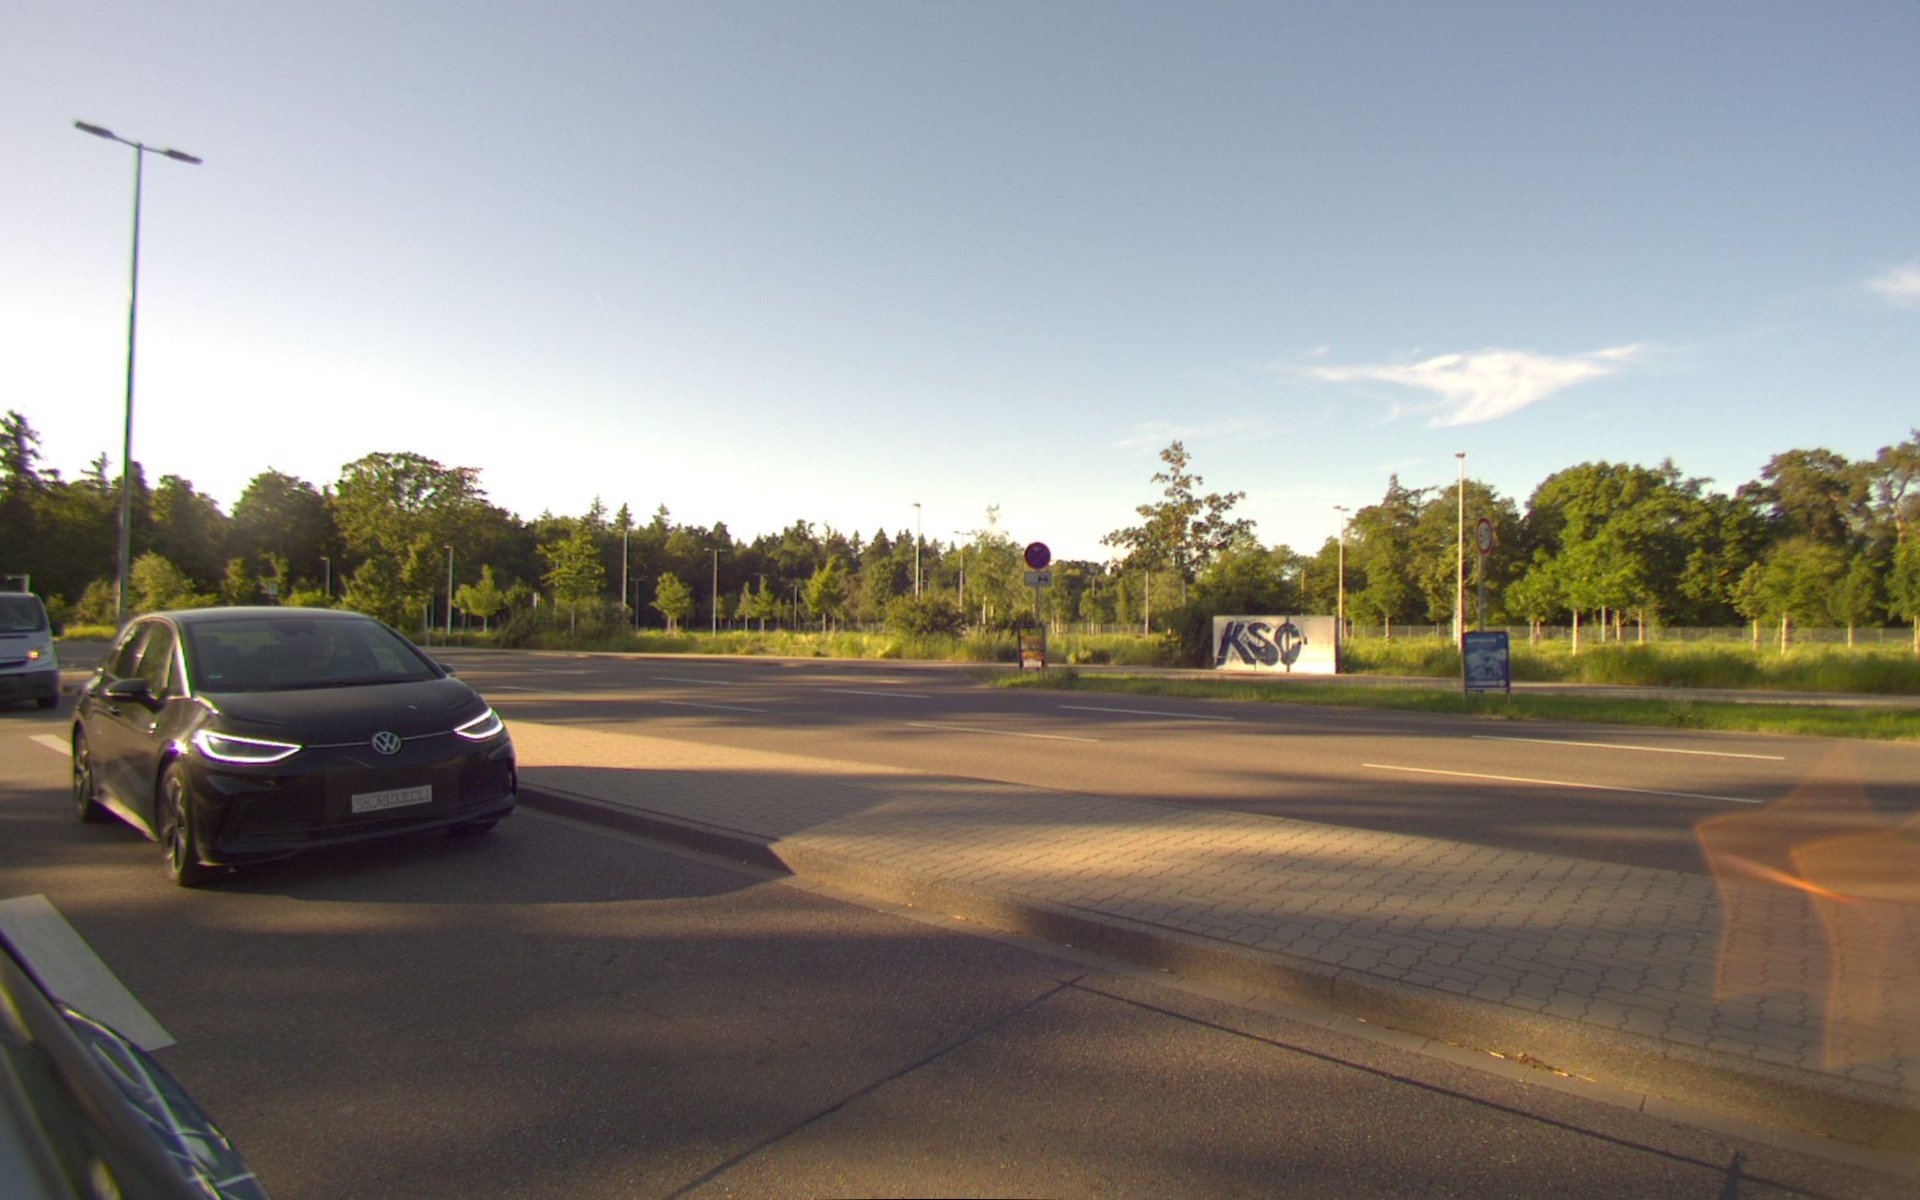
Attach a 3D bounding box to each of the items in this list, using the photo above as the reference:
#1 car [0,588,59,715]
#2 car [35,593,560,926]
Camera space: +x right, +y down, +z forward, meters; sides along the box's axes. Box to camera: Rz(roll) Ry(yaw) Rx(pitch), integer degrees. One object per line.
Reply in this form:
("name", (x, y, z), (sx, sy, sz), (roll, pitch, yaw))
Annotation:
("car", (-17.025, 0.861, 17.208), (5.044, 1.977, 1.859), (-2, -1, 40))
("car", (-4.556, 0.756, 6.729), (3.997, 1.548, 1.859), (-1, 0, 40))
